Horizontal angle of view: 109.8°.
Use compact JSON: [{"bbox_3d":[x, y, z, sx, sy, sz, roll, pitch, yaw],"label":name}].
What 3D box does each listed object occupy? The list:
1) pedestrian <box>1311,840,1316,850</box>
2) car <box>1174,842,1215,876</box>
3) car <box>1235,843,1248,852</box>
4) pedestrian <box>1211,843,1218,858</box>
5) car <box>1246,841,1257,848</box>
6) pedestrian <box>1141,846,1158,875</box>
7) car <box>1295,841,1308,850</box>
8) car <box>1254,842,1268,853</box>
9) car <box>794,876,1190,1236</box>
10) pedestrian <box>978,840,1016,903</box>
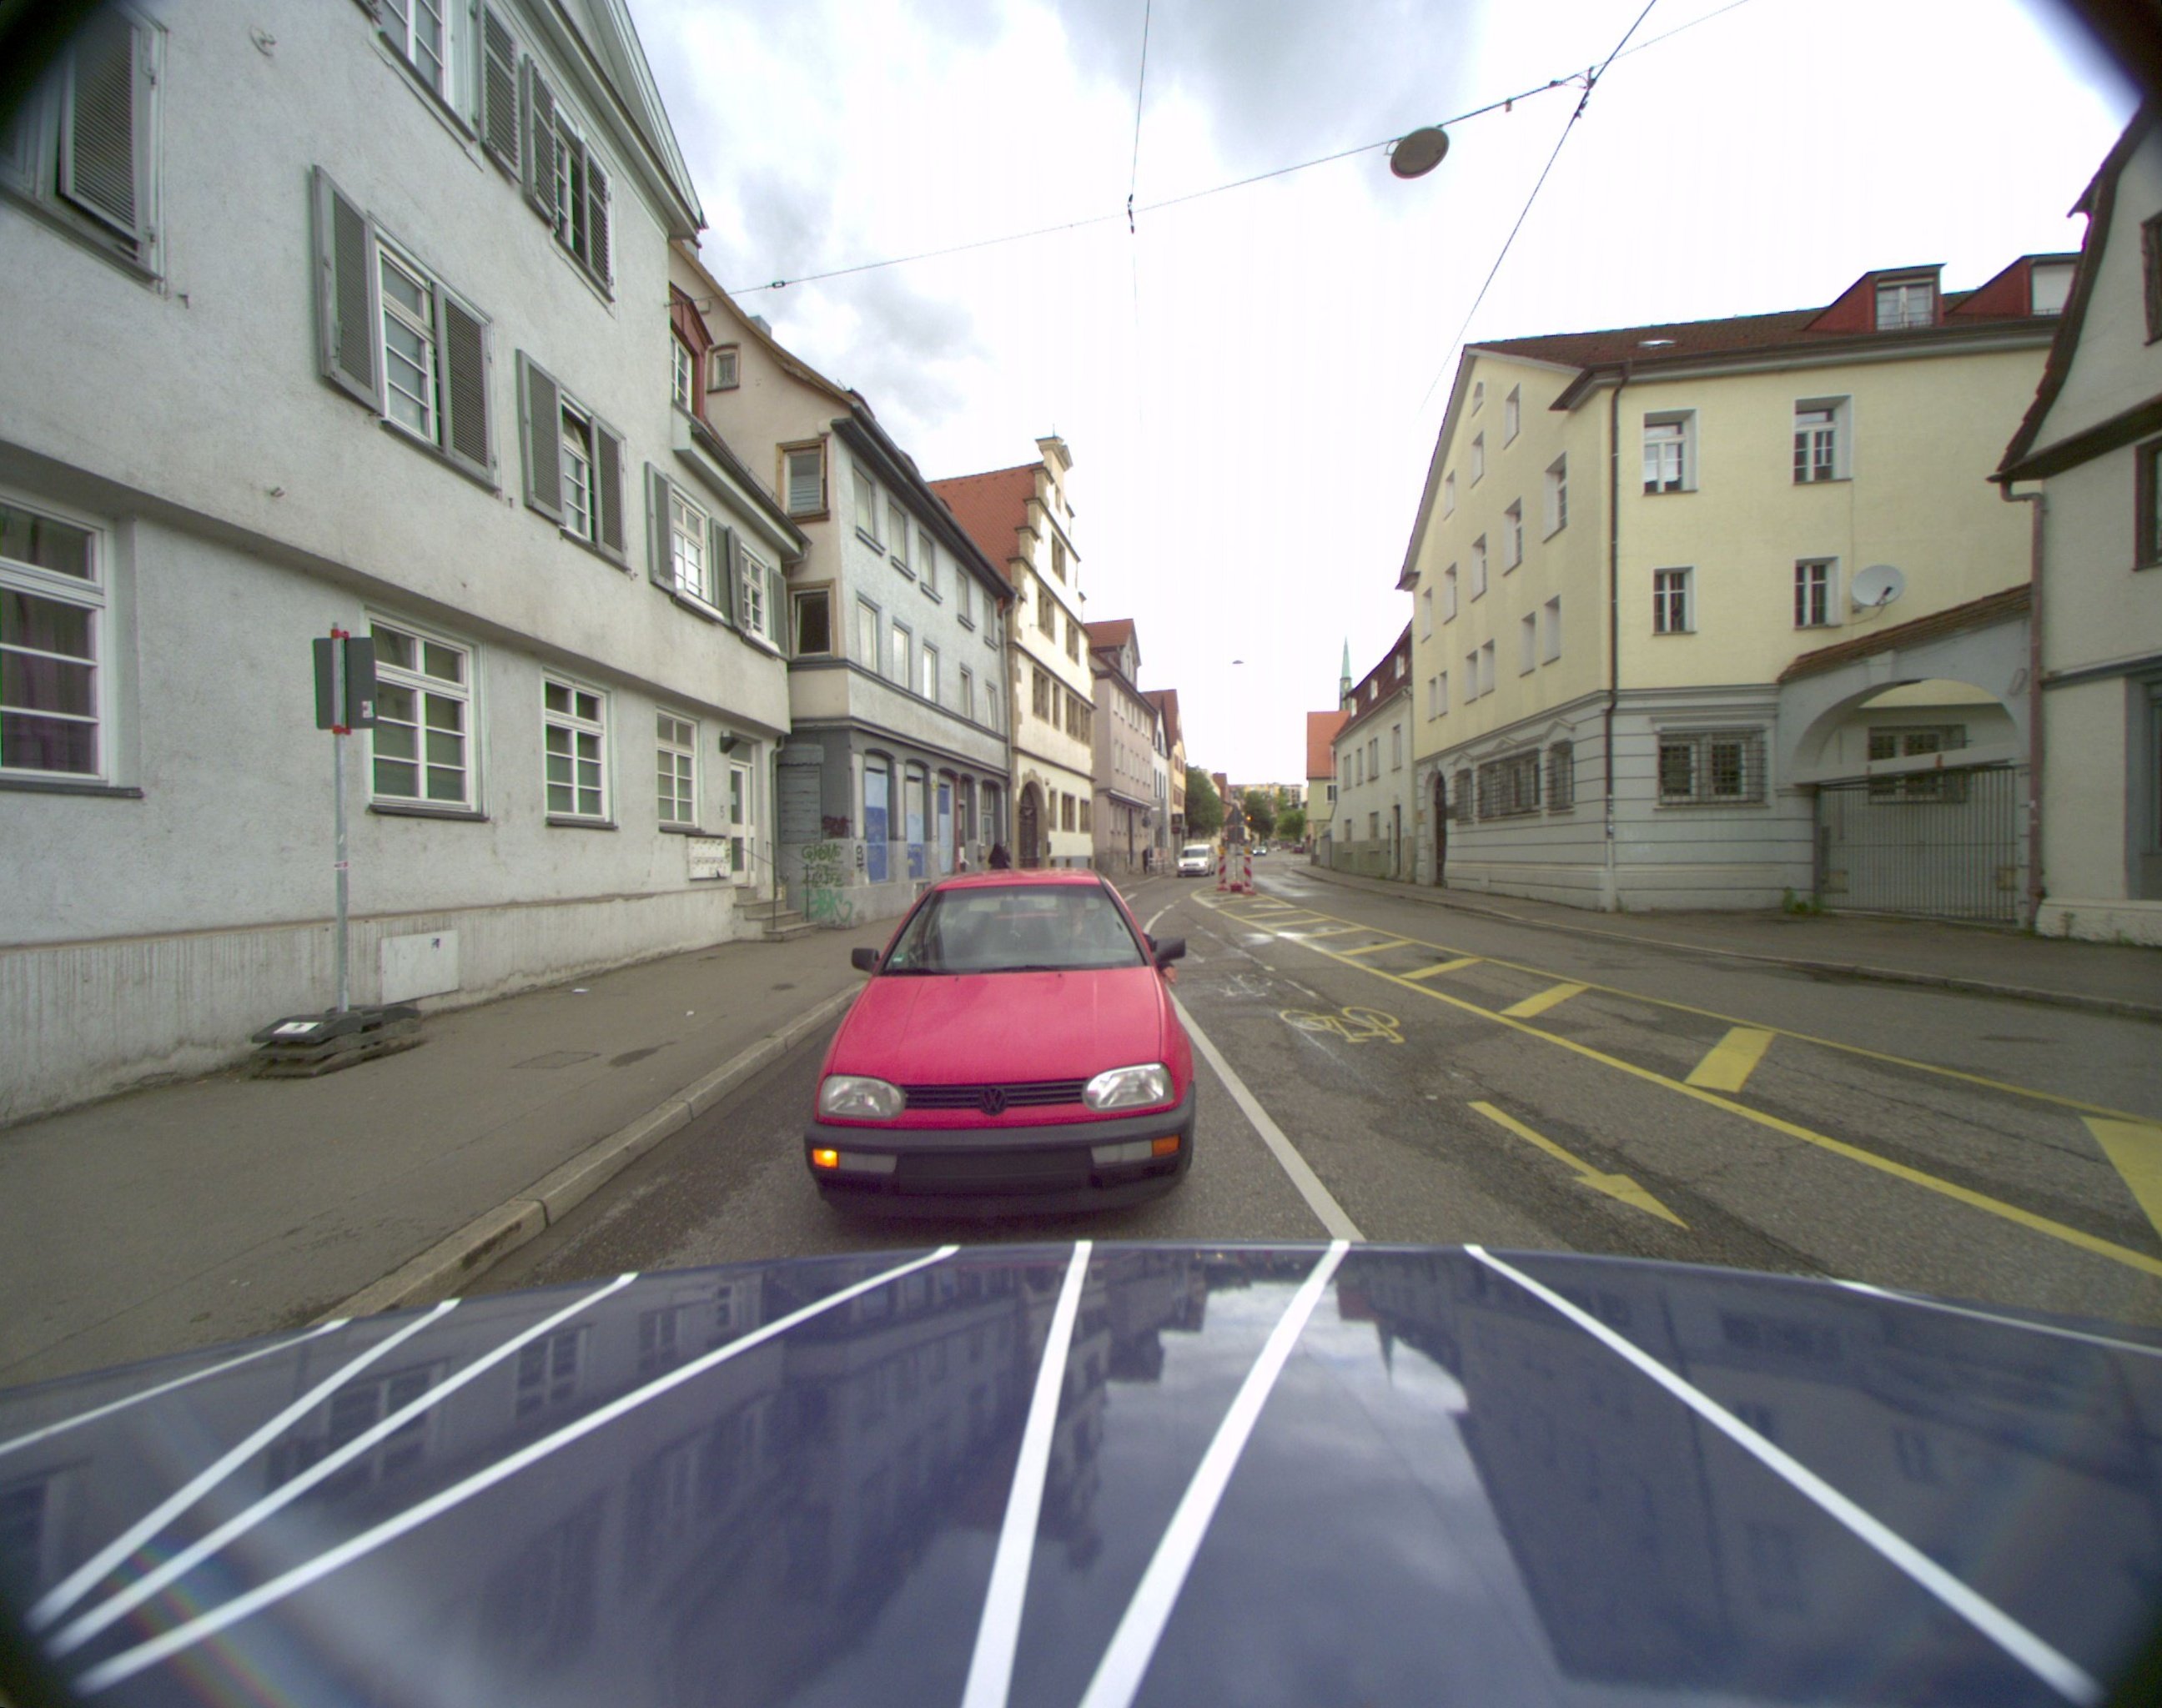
[{"bbox_3d":[44.383,-1.743,145.142,0.835,2.002,0.846,-1,1,13],"label":"pedestrian"},{"bbox_3d":[6.462,0.230,42.814,1.996,1.777,4.470,0,2,12],"label":"car"},{"bbox_3d":[28.315,-1.147,133.620,2.031,1.546,4.004,0,1,14],"label":"car"},{"bbox_3d":[20.386,-0.471,115.955,0.901,2.297,0.821,-1,0,13],"label":"pedestrian"},{"bbox_3d":[34.636,-1.900,154.221,1.819,1.380,4.005,0,1,17],"label":"car"},{"bbox_3d":[3.949,0.369,43.725,0.833,1.646,0.945,-1,0,15],"label":"pedestrian"},{"bbox_3d":[42.647,-1.696,146.799,2.210,1.668,4.502,0,1,14],"label":"car"},{"bbox_3d":[28.326,-0.992,119.759,1.996,1.669,4.004,-1,1,15],"label":"car"},{"bbox_3d":[-0.375,0.931,5.295,1.685,1.418,4.021,-1,0,0],"label":"car"},{"bbox_3d":[-2.295,0.477,20.909,0.756,1.658,0.810,2,1,12],"label":"pedestrian"}]
